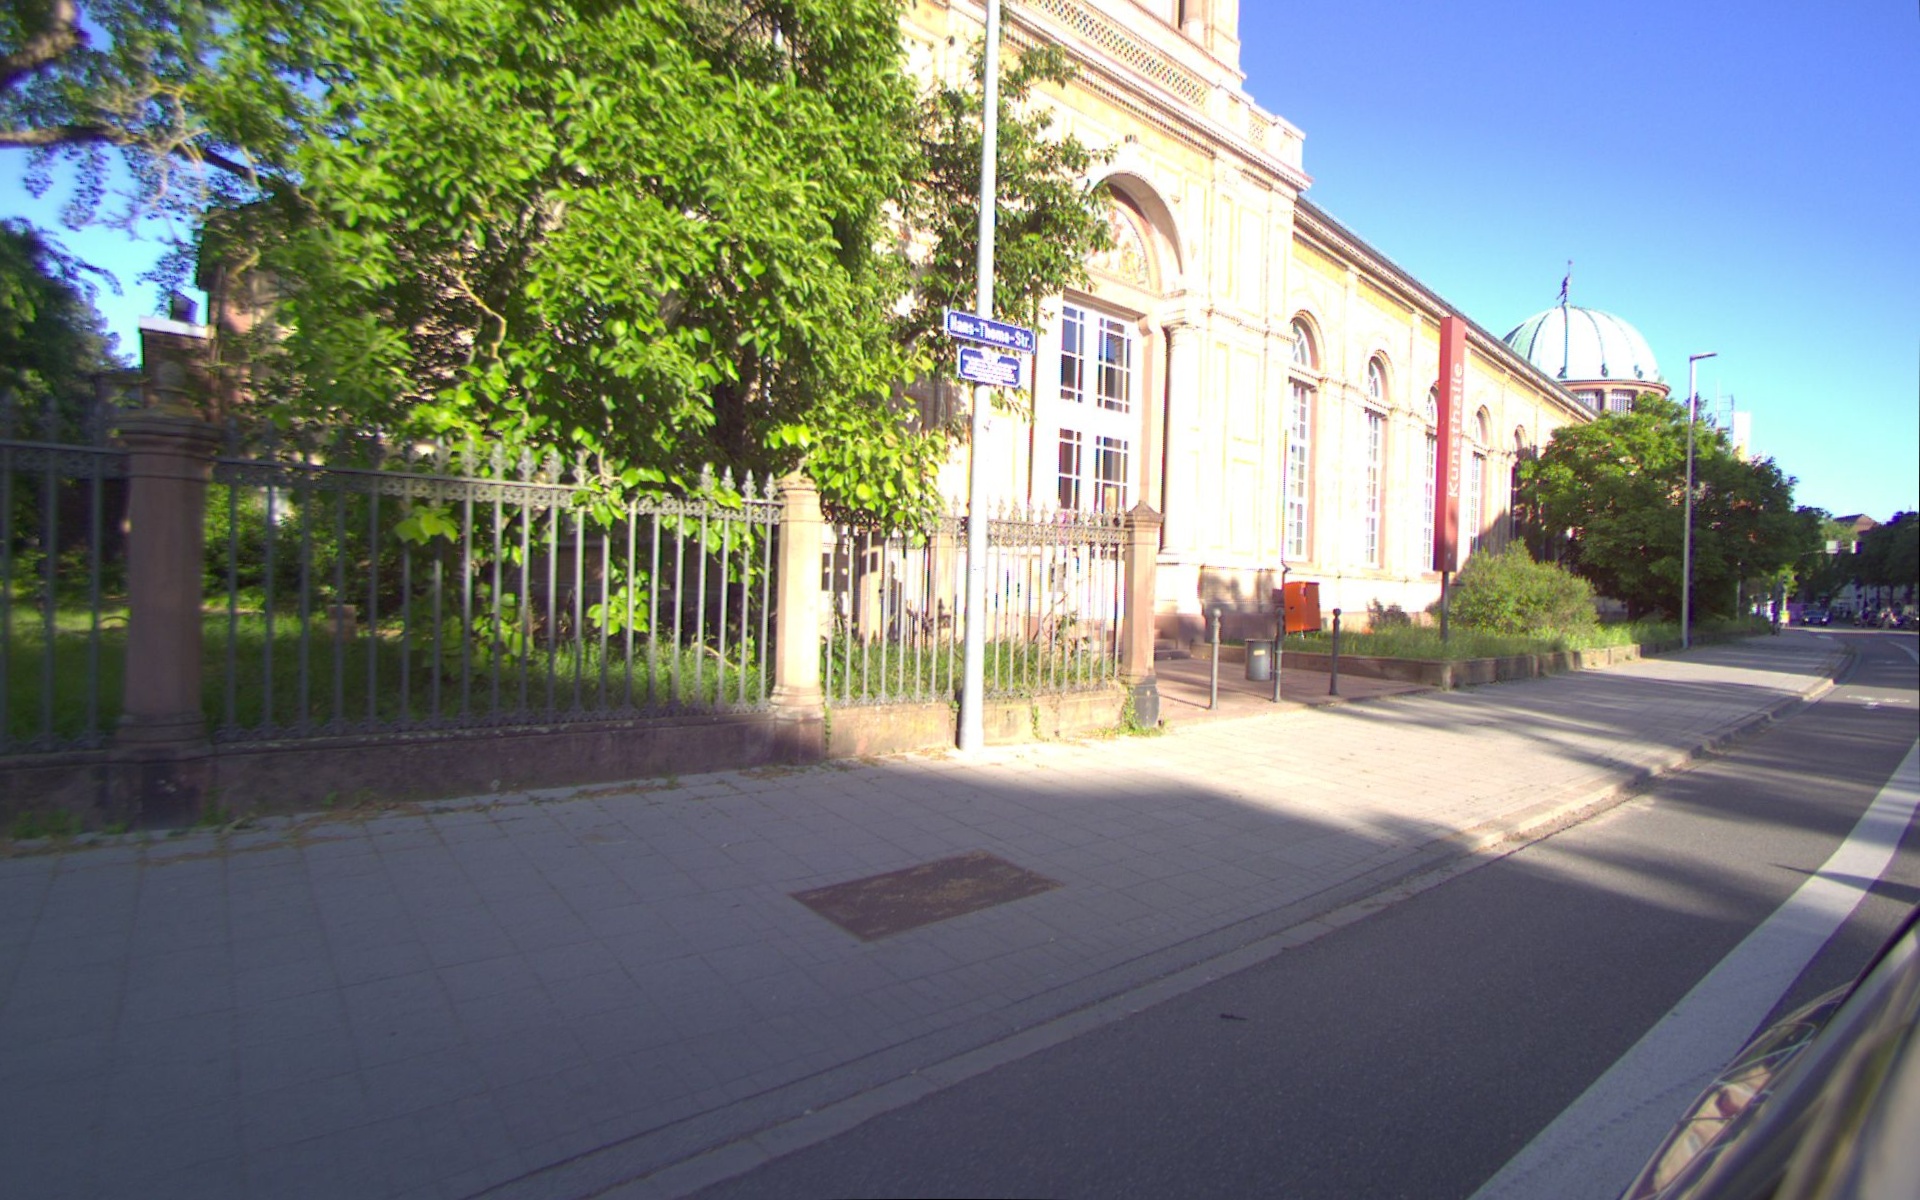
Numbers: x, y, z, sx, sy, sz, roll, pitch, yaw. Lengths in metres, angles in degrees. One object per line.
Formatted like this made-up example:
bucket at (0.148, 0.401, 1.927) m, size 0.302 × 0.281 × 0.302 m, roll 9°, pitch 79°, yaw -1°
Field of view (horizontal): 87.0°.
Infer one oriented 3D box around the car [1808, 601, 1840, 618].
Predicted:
car at (77.463, 0.828, 90.741) m, size 1.543 × 1.311 × 3.597 m, roll 6°, pitch 4°, yaw 32°

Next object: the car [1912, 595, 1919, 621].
car at (73.257, 0.649, 75.776) m, size 2.061 × 1.939 × 4.972 m, roll 2°, pitch 2°, yaw 34°

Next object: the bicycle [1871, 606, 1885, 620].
bicycle at (76.200, 1.051, 84.022) m, size 0.667 × 1.086 × 1.730 m, roll 1°, pitch 1°, yaw 36°

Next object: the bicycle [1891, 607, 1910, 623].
bicycle at (70.511, 1.105, 75.875) m, size 0.827 × 1.157 × 1.943 m, roll 1°, pitch 1°, yaw 37°

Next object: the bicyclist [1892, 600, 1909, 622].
bicyclist at (70.640, 0.810, 76.015) m, size 0.801 × 1.628 × 0.814 m, roll 2°, pitch 1°, yaw 38°

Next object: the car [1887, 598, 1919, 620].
car at (78.726, 0.758, 83.839) m, size 1.983 × 1.771 × 4.692 m, roll 2°, pitch 1°, yaw 32°

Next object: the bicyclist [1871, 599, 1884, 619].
bicyclist at (76.205, 0.745, 84.030) m, size 0.670 × 1.673 × 0.876 m, roll 1°, pitch 0°, yaw 36°

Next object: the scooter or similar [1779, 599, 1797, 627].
scooter or similar at (41.214, 0.653, 50.390) m, size 0.555 × 1.325 × 1.804 m, roll 2°, pitch 1°, yaw 42°

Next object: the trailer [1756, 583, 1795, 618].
trailer at (65.501, 0.034, 81.322) m, size 2.075 × 2.559 × 4.433 m, roll 4°, pitch 2°, yaw 36°
